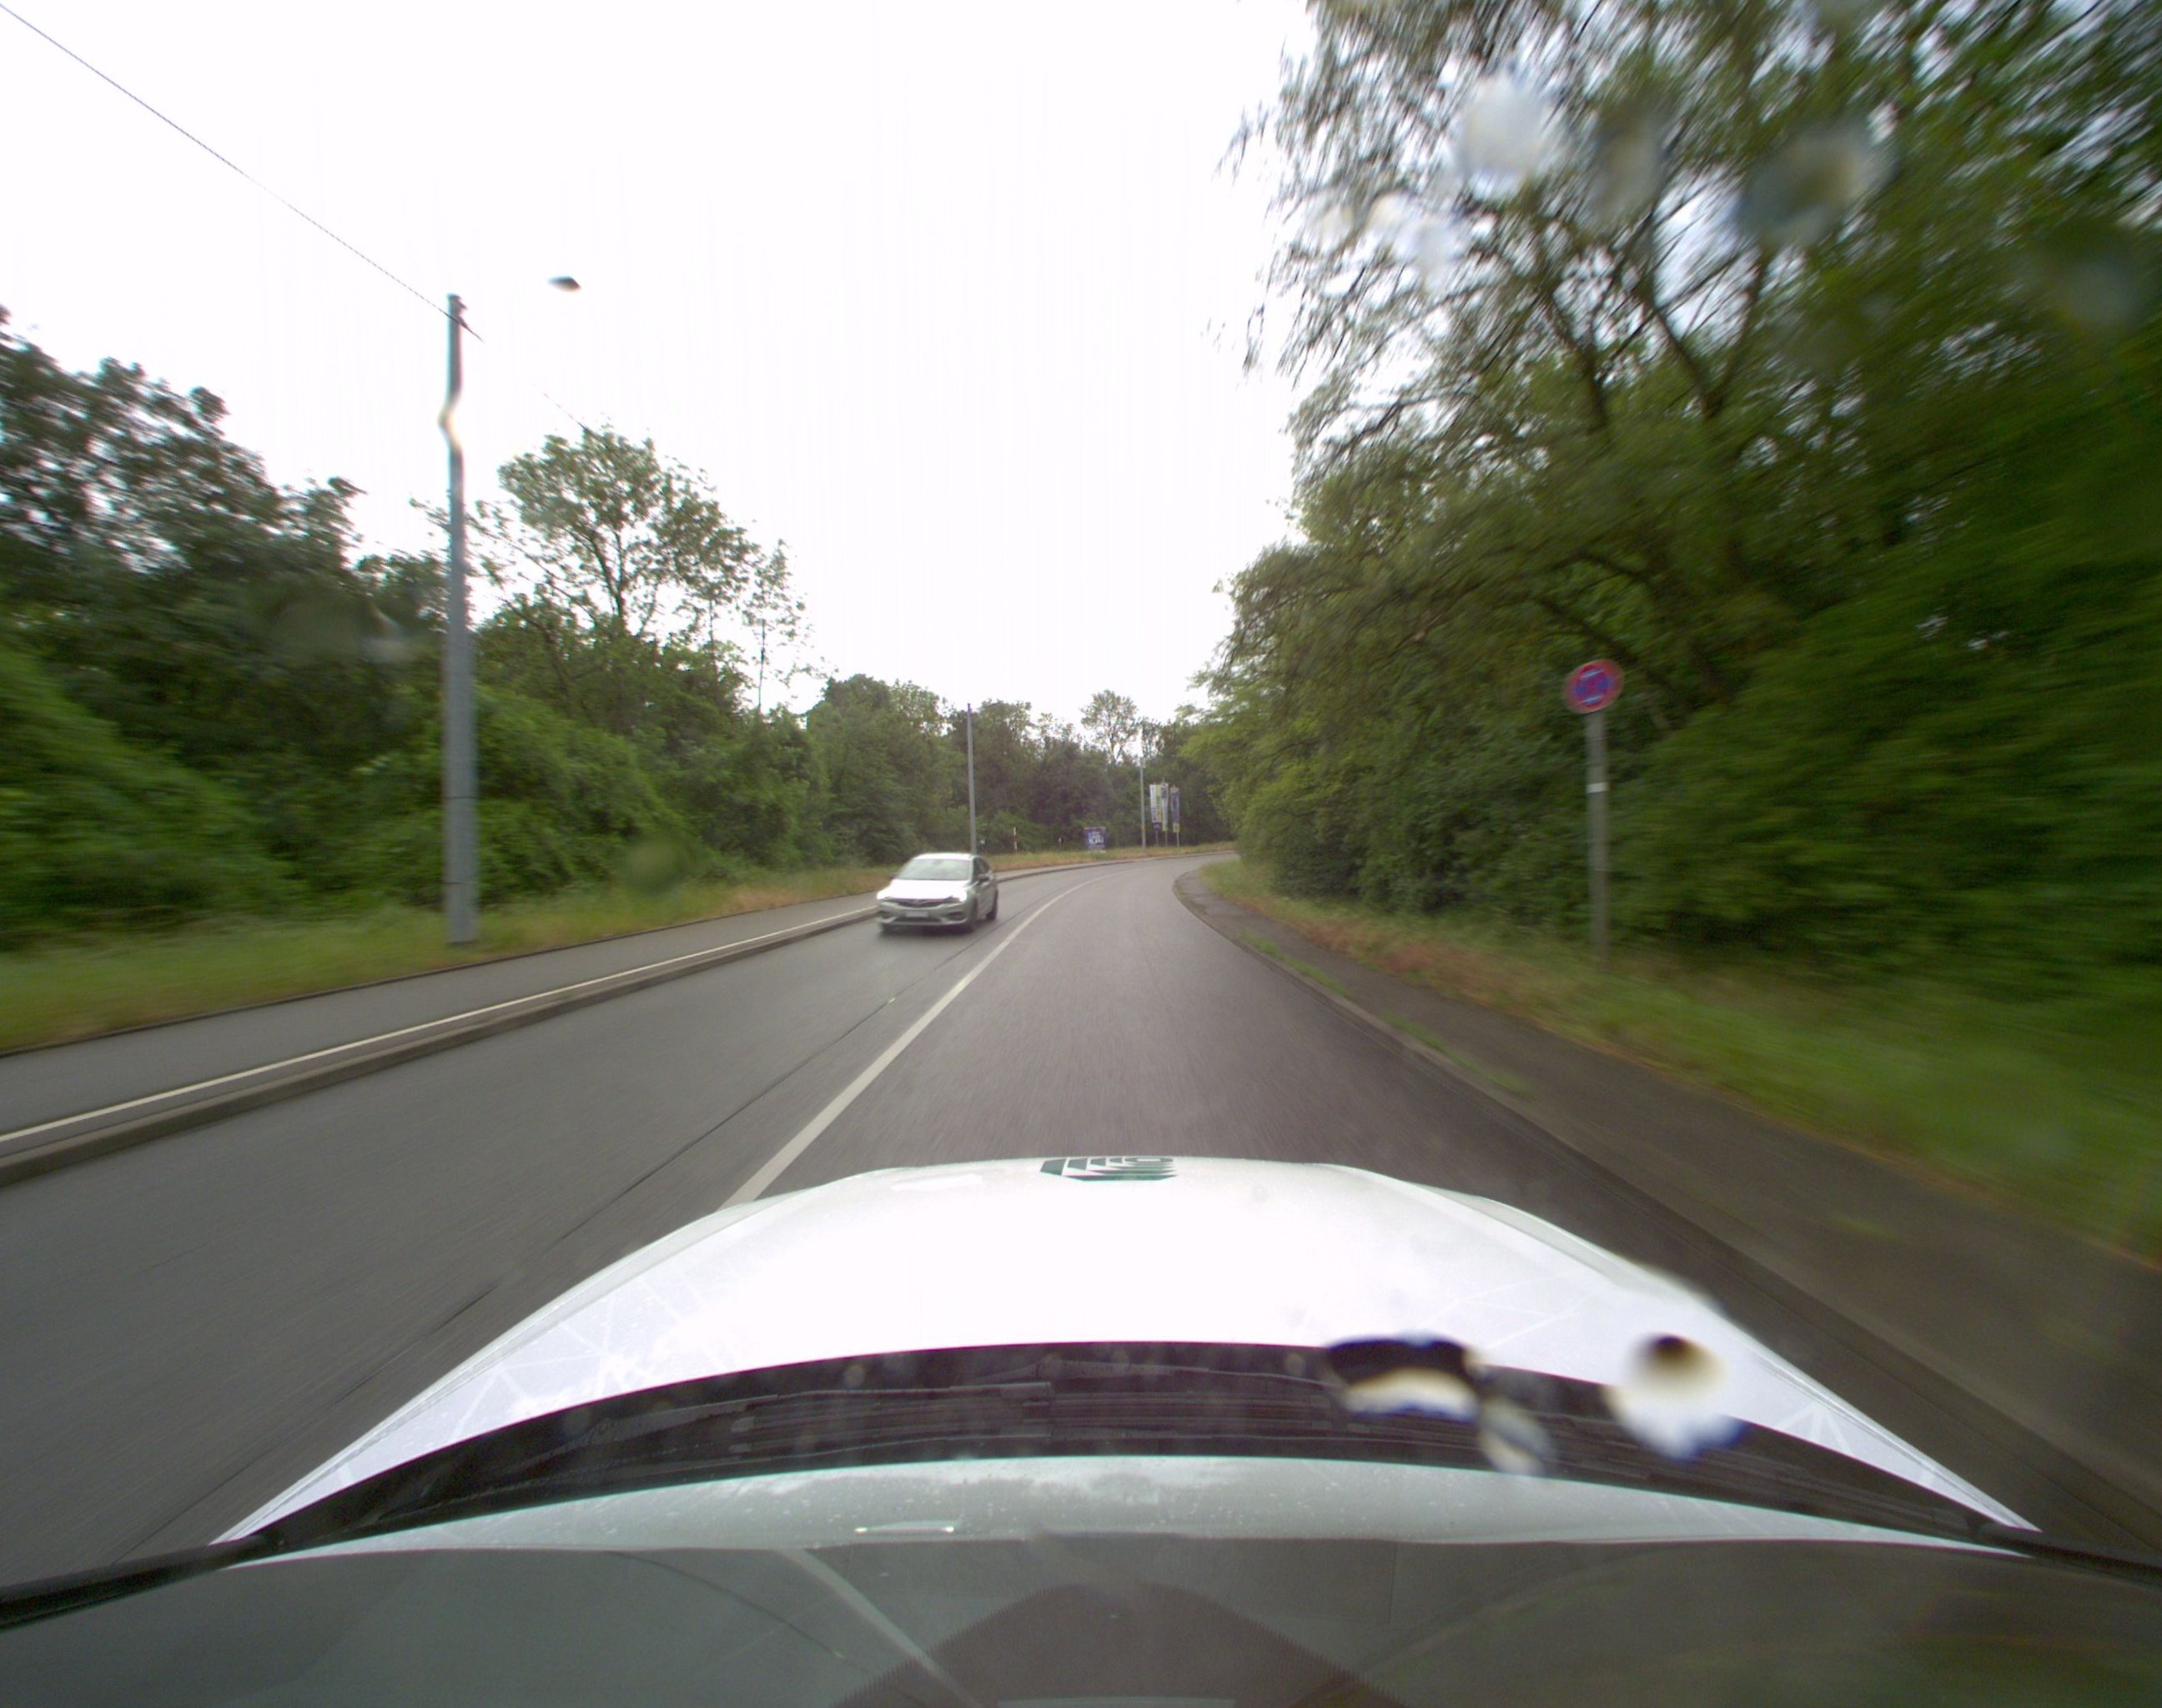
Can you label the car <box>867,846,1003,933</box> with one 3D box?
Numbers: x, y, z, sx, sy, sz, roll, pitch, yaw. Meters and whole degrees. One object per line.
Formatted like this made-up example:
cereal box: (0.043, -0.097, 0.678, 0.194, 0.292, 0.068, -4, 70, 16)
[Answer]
car: (-2.803, 0.604, 16.672, 1.773, 1.430, 4.478, 1, 2, 2)
